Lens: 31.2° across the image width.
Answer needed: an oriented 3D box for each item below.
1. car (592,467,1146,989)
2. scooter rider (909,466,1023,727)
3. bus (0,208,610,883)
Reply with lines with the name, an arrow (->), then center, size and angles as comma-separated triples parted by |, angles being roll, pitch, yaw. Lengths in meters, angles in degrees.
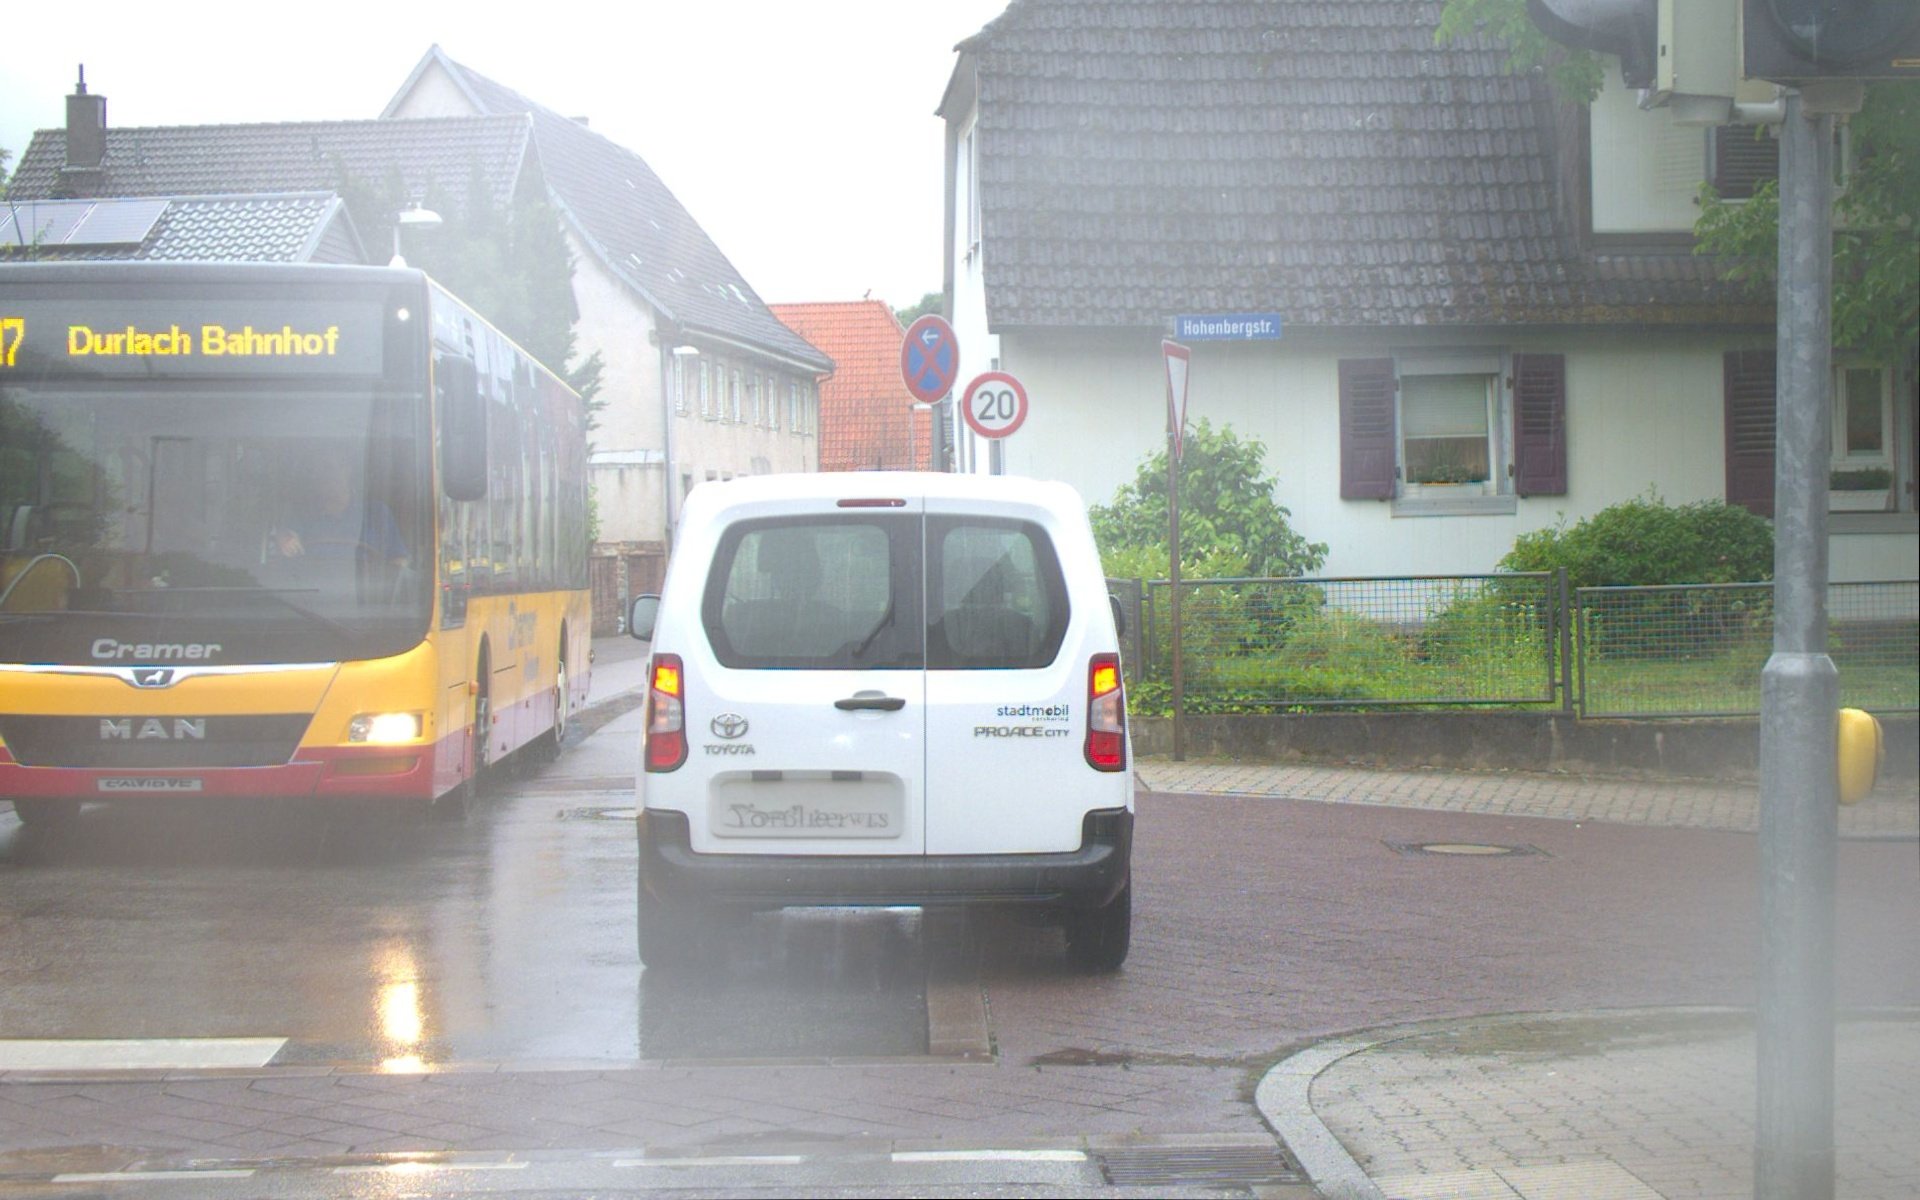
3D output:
car -> -0.371, 0.413, 13.743 | 1.894, 1.787, 3.814 | 0, 1, -2
scooter rider -> 0.044, -0.029, 23.198 | 0.731, 1.727, 0.518 | -1, 2, 1
bus -> -3.884, -0.481, 21.337 | 2.649, 2.989, 12.195 | 0, 2, -2
